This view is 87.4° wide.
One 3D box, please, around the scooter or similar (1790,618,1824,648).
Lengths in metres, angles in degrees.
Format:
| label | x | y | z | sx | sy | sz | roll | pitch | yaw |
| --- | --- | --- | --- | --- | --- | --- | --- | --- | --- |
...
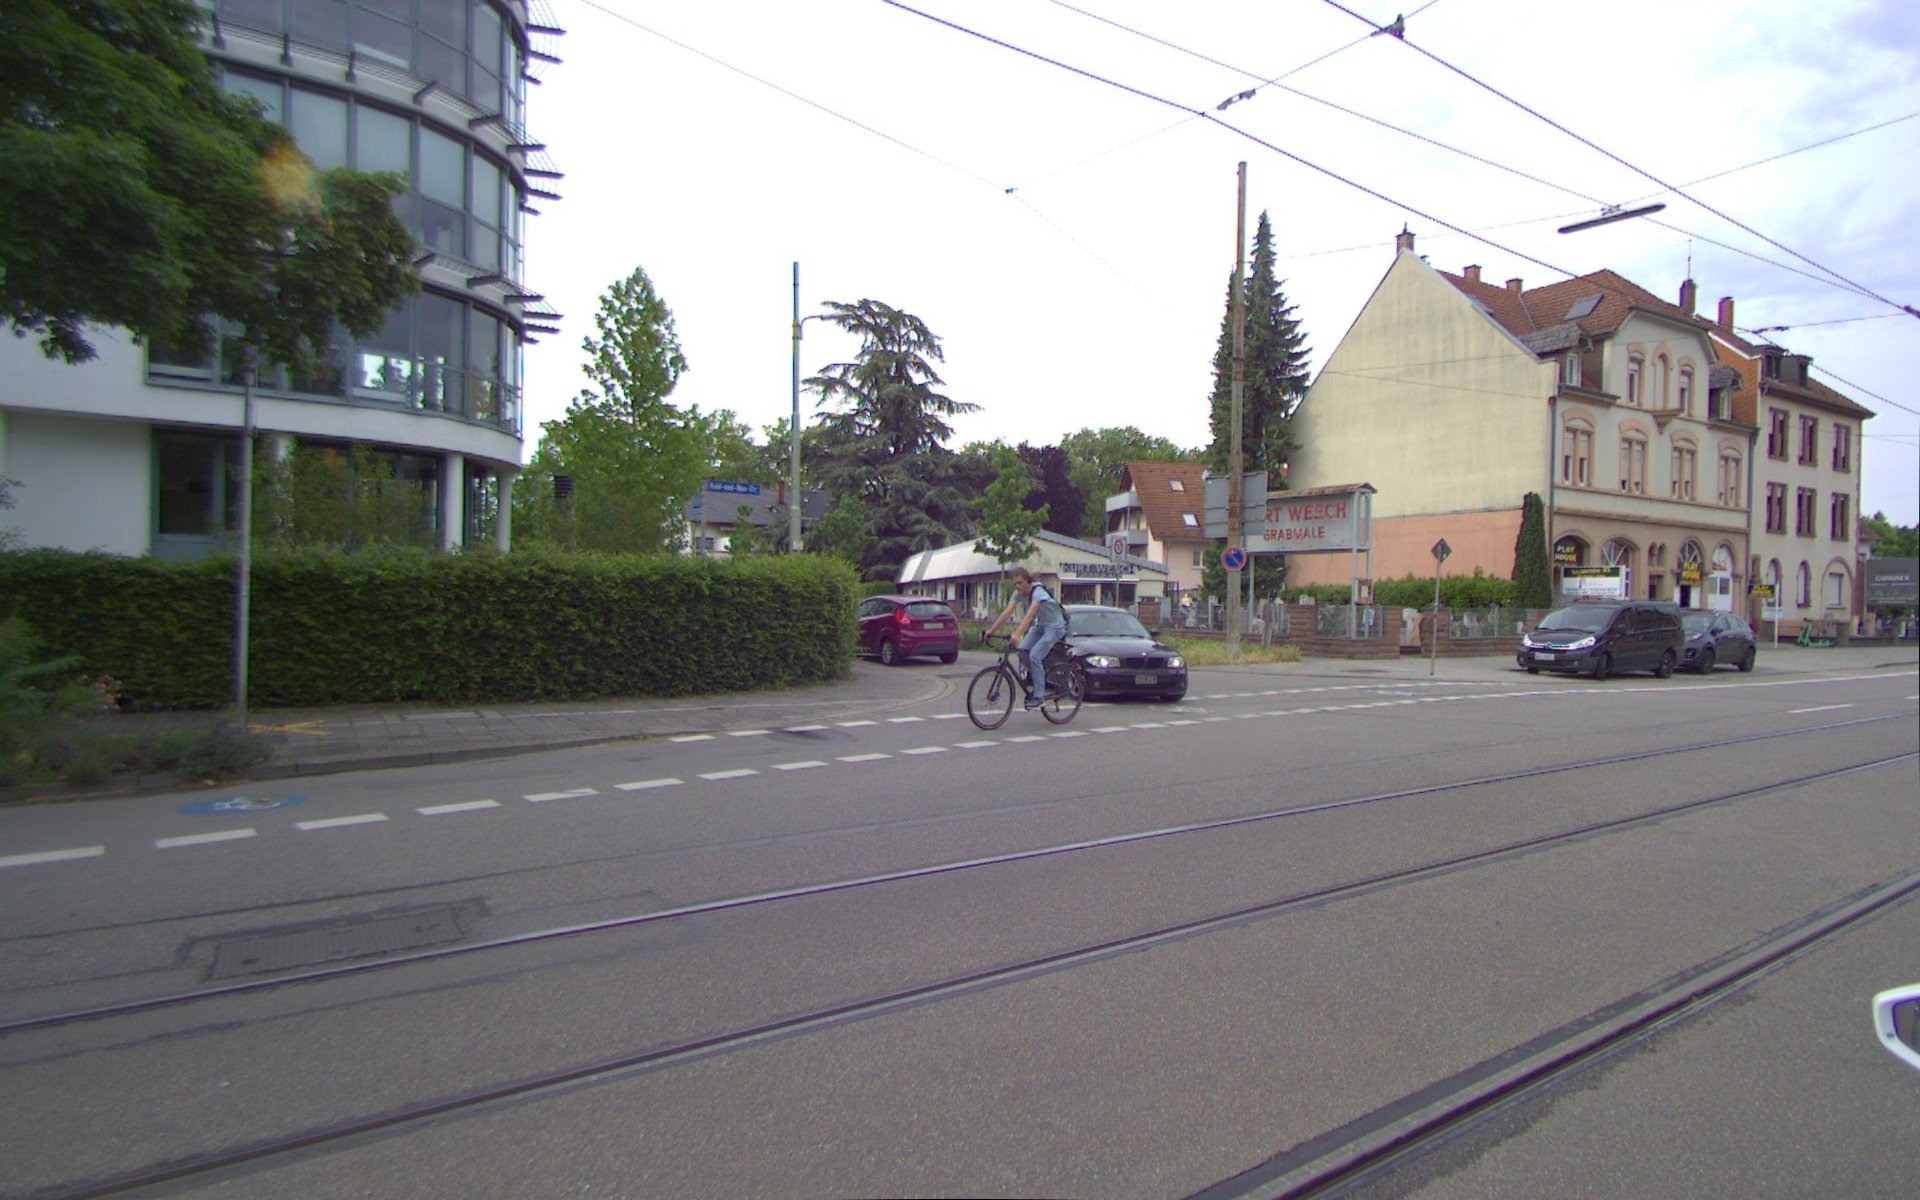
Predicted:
| label | x | y | z | sx | sy | sz | roll | pitch | yaw |
| --- | --- | --- | --- | --- | --- | --- | --- | --- | --- |
| scooter or similar | 36.072 | 1.395 | 42.784 | 1.032 | 1.204 | 0.318 | 3 | 1 | 25 |

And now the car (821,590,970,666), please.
| label | x | y | z | sx | sy | sz | roll | pitch | yaw |
| --- | --- | --- | --- | --- | --- | --- | --- | --- | --- |
| car | -1.508 | 0.544 | 22.312 | 1.749 | 1.437 | 3.687 | -1 | 3 | -33 |

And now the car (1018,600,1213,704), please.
| label | x | y | z | sx | sy | sz | roll | pitch | yaw |
| --- | --- | --- | --- | --- | --- | --- | --- | --- | --- |
| car | 2.306 | 0.734 | 16.010 | 1.771 | 1.406 | 3.923 | 1 | 0 | -12 |

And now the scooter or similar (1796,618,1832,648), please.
| label | x | y | z | sx | sy | sz | roll | pitch | yaw |
| --- | --- | --- | --- | --- | --- | --- | --- | --- | --- |
| scooter or similar | 35.883 | 1.393 | 42.213 | 1.032 | 1.204 | 0.318 | 3 | 1 | 25 |

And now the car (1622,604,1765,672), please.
| label | x | y | z | sx | sy | sz | roll | pitch | yaw |
| --- | --- | --- | --- | --- | --- | --- | --- | --- | --- |
| car | 20.838 | 1.064 | 28.493 | 4.147 | 1.741 | 1.834 | 2 | 1 | -32 |

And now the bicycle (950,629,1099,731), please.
| label | x | y | z | sx | sy | sz | roll | pitch | yaw |
| --- | --- | --- | --- | --- | --- | --- | --- | --- | --- |
| bicycle | 0.783 | 0.880 | 11.638 | 1.944 | 1.088 | 0.581 | 1 | -1 | -44 |

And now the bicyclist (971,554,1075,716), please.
| label | x | y | z | sx | sy | sz | roll | pitch | yaw |
| --- | --- | --- | --- | --- | --- | --- | --- | --- | --- |
| bicyclist | 0.732 | 0.393 | 11.592 | 0.972 | 1.772 | 0.728 | 1 | -1 | -44 |

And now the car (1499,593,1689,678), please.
| label | x | y | z | sx | sy | sz | roll | pitch | yaw |
| --- | --- | --- | --- | --- | --- | --- | --- | --- | --- |
| car | 15.925 | 0.874 | 25.167 | 4.941 | 1.912 | 1.981 | 2 | 1 | -31 |
